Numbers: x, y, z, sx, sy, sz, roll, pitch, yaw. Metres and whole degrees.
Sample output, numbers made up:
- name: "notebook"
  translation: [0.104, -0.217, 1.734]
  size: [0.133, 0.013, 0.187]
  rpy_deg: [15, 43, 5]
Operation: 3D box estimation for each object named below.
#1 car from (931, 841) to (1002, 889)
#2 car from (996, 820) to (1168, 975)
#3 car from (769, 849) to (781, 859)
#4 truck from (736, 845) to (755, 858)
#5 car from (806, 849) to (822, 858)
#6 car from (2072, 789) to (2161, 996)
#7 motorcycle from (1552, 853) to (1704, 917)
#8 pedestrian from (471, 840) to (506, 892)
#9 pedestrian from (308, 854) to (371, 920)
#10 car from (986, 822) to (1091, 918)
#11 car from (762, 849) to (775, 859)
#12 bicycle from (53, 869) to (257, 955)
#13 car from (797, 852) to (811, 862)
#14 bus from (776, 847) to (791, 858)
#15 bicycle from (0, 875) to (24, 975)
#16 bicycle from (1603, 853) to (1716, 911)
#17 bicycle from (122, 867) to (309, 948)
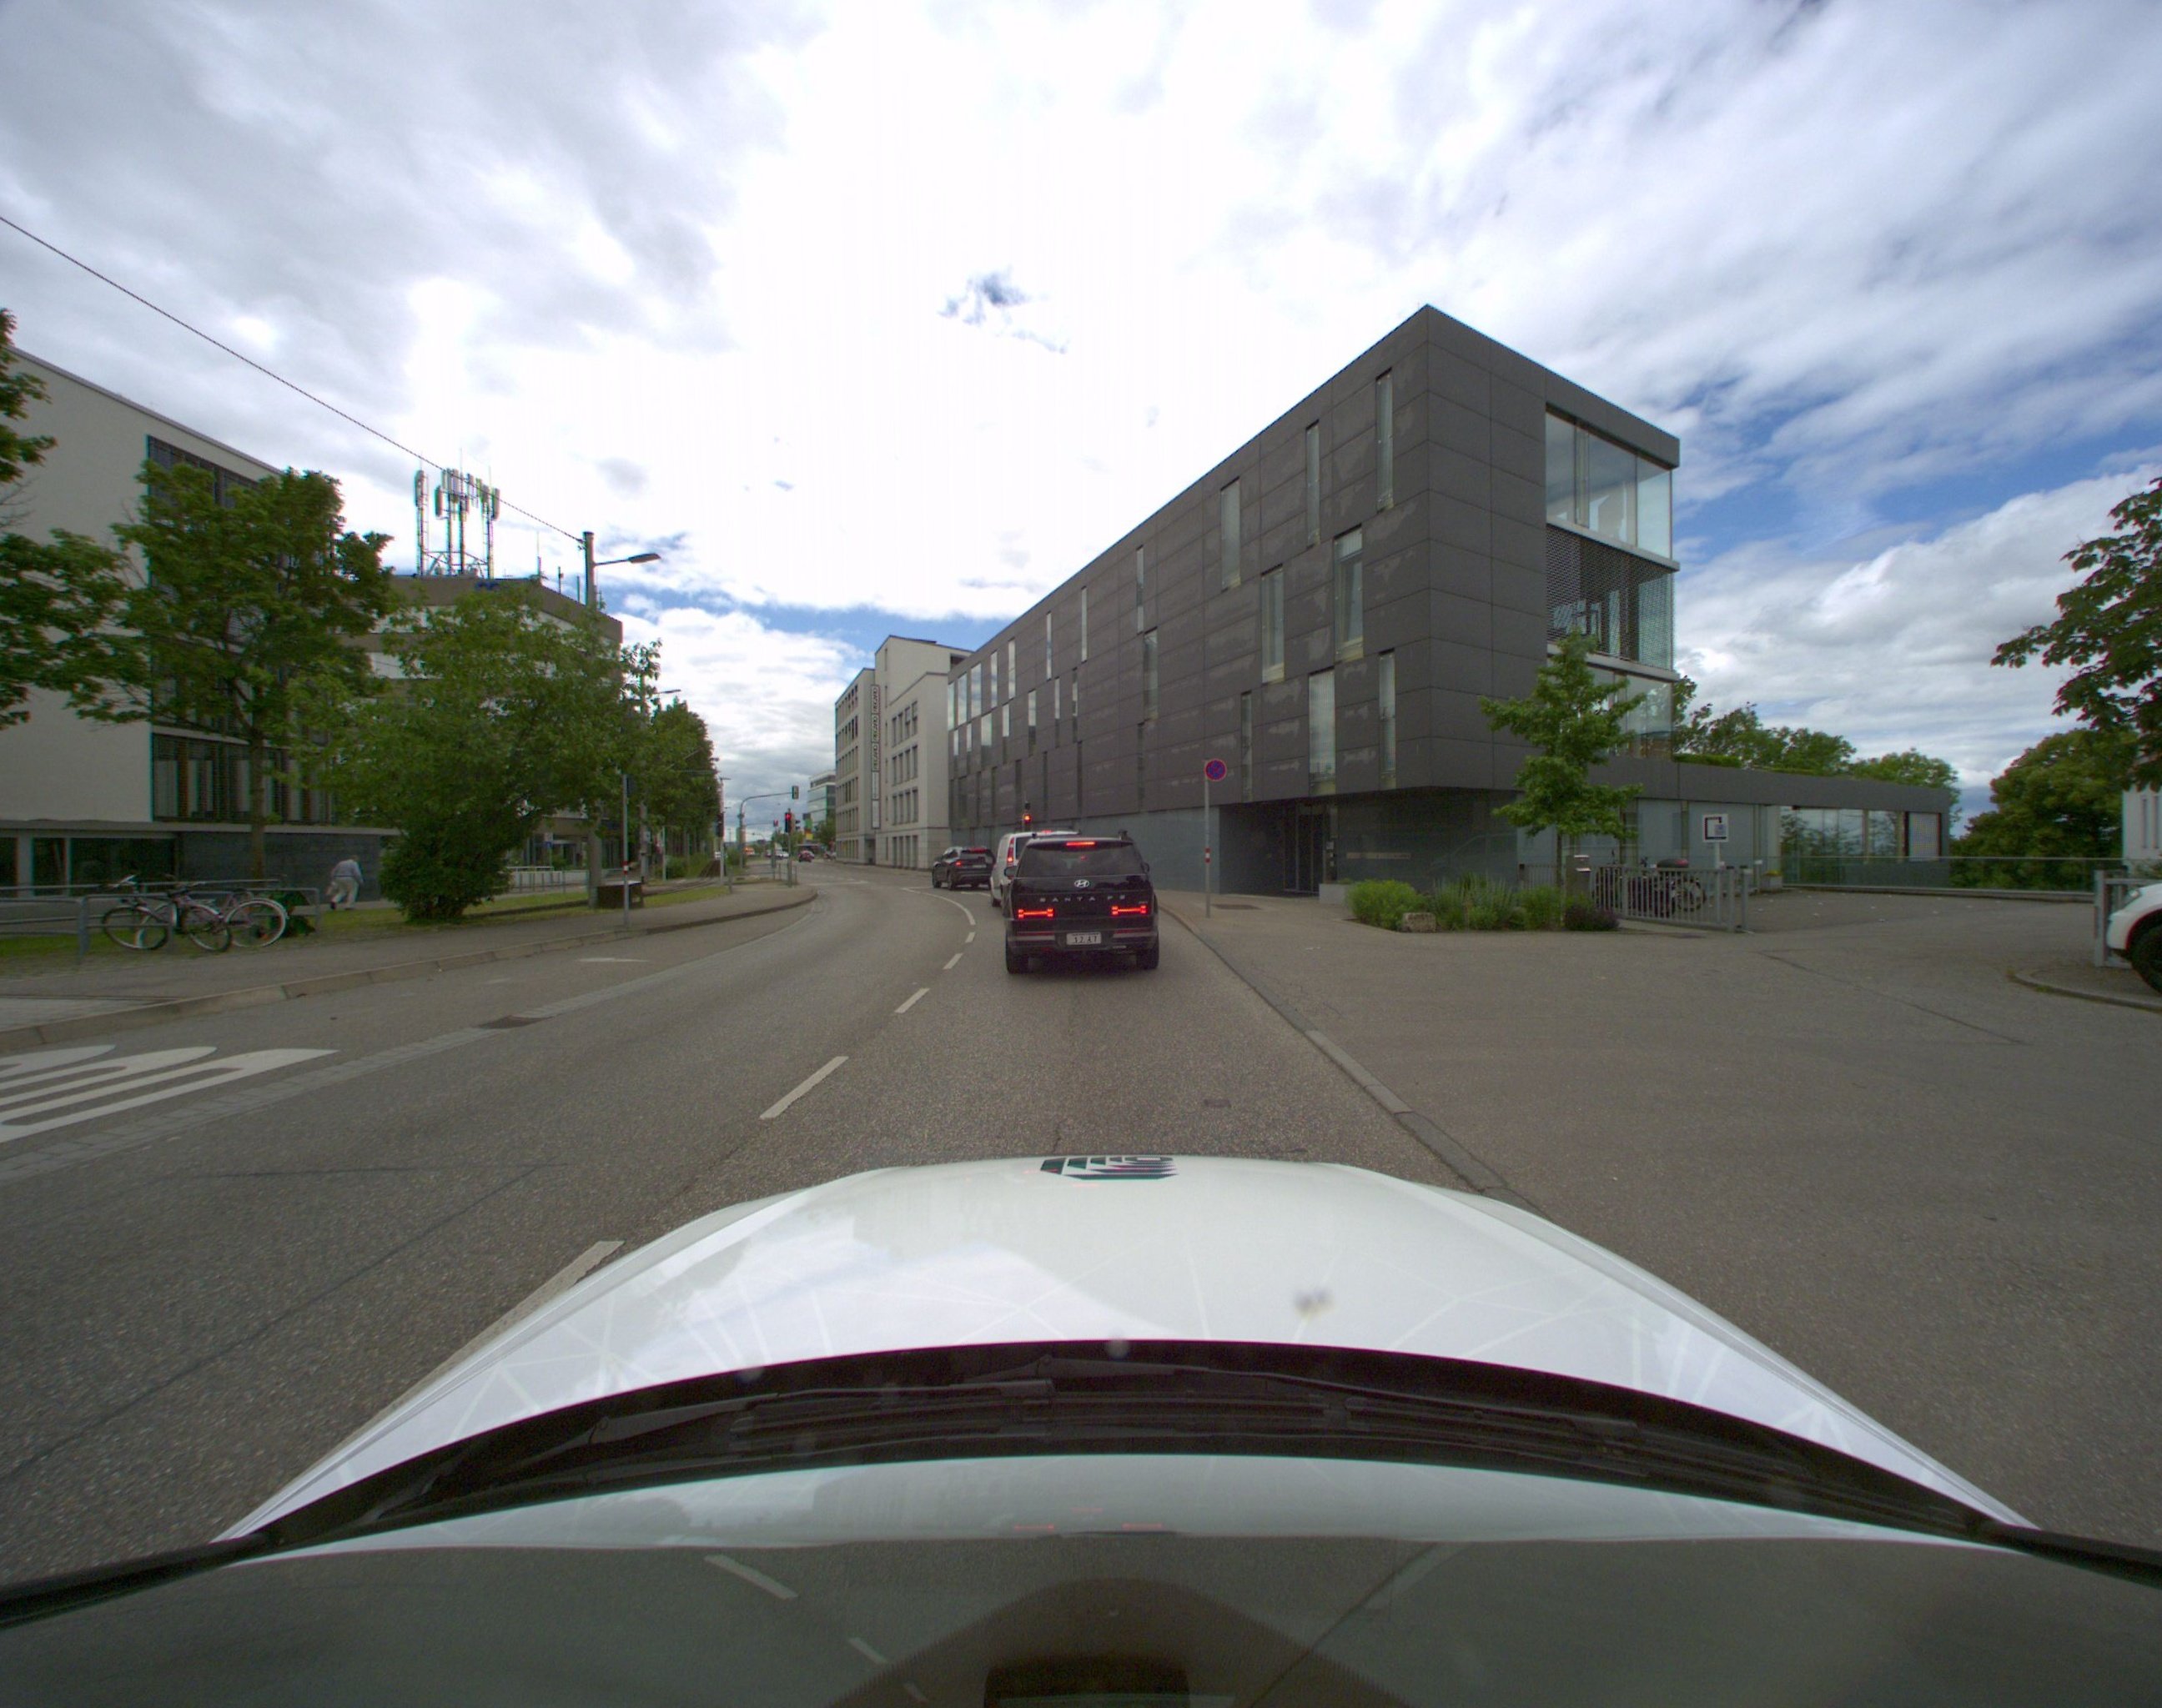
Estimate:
- name: "car"
  translation: [-4.546, 0.409, 31.756]
  size: [1.854, 1.677, 4.345]
  rpy_deg: [-2, 0, -20]
- name: "car"
  translation: [-0.040, 0.478, 11.269]
  size: [1.910, 1.725, 4.167]
  rpy_deg: [1, 0, -2]
- name: "car"
  translation: [-54.000, 0.031, 143.722]
  size: [1.857, 1.695, 3.975]
  rpy_deg: [-1, 0, -19]
- name: "truck"
  translation: [-77.342, -0.616, 187.846]
  size: [2.592, 2.825, 6.914]
  rpy_deg: [-1, 0, -35]
- name: "car"
  translation: [-53.151, -0.076, 162.301]
  size: [1.866, 1.628, 3.956]
  rpy_deg: [-1, 0, -36]
- name: "car"
  translation: [10.577, 0.302, 5.605]
  size: [1.987, 1.838, 4.517]
  rpy_deg: [-2, 0, 0]
- name: "motorcycle"
  translation: [11.760, 0.619, 17.640]
  size: [0.850, 1.260, 2.672]
  rpy_deg: [-1, 0, -25]
- name: "pedestrian"
  translation: [-23.378, 0.458, 32.147]
  size: [0.768, 2.014, 0.885]
  rpy_deg: [2, -1, -18]
- name: "pedestrian"
  translation: [-20.737, 0.908, 22.797]
  size: [0.827, 1.765, 0.907]
  rpy_deg: [2, -1, 1]
- name: "car"
  translation: [-1.156, 0.305, 19.723]
  size: [1.857, 2.033, 4.419]
  rpy_deg: [-1, 1, -12]
- name: "car"
  translation: [-61.290, -0.014, 159.840]
  size: [1.863, 1.923, 3.963]
  rpy_deg: [-1, 0, -29]
- name: "bicycle"
  translation: [-12.664, 0.781, 11.167]
  size: [2.091, 1.106, 0.632]
  rpy_deg: [1, 0, 1]
- name: "car"
  translation: [-42.415, 0.386, 124.771]
  size: [1.904, 1.486, 3.977]
  rpy_deg: [-1, 0, -17]
- name: "bus"
  translation: [-83.328, -0.513, 228.036]
  size: [3.097, 2.928, 10.260]
  rpy_deg: [1, 0, -24]
- name: "bicycle"
  translation: [-12.948, 0.781, 8.953]
  size: [1.921, 1.106, 0.587]
  rpy_deg: [1, 0, 1]
- name: "bicycle"
  translation: [13.303, 0.604, 18.810]
  size: [0.617, 1.260, 2.085]
  rpy_deg: [-1, 0, -25]
- name: "bicycle"
  translation: [-12.612, 0.763, 11.901]
  size: [2.091, 1.106, 0.632]
  rpy_deg: [1, 0, 2]
